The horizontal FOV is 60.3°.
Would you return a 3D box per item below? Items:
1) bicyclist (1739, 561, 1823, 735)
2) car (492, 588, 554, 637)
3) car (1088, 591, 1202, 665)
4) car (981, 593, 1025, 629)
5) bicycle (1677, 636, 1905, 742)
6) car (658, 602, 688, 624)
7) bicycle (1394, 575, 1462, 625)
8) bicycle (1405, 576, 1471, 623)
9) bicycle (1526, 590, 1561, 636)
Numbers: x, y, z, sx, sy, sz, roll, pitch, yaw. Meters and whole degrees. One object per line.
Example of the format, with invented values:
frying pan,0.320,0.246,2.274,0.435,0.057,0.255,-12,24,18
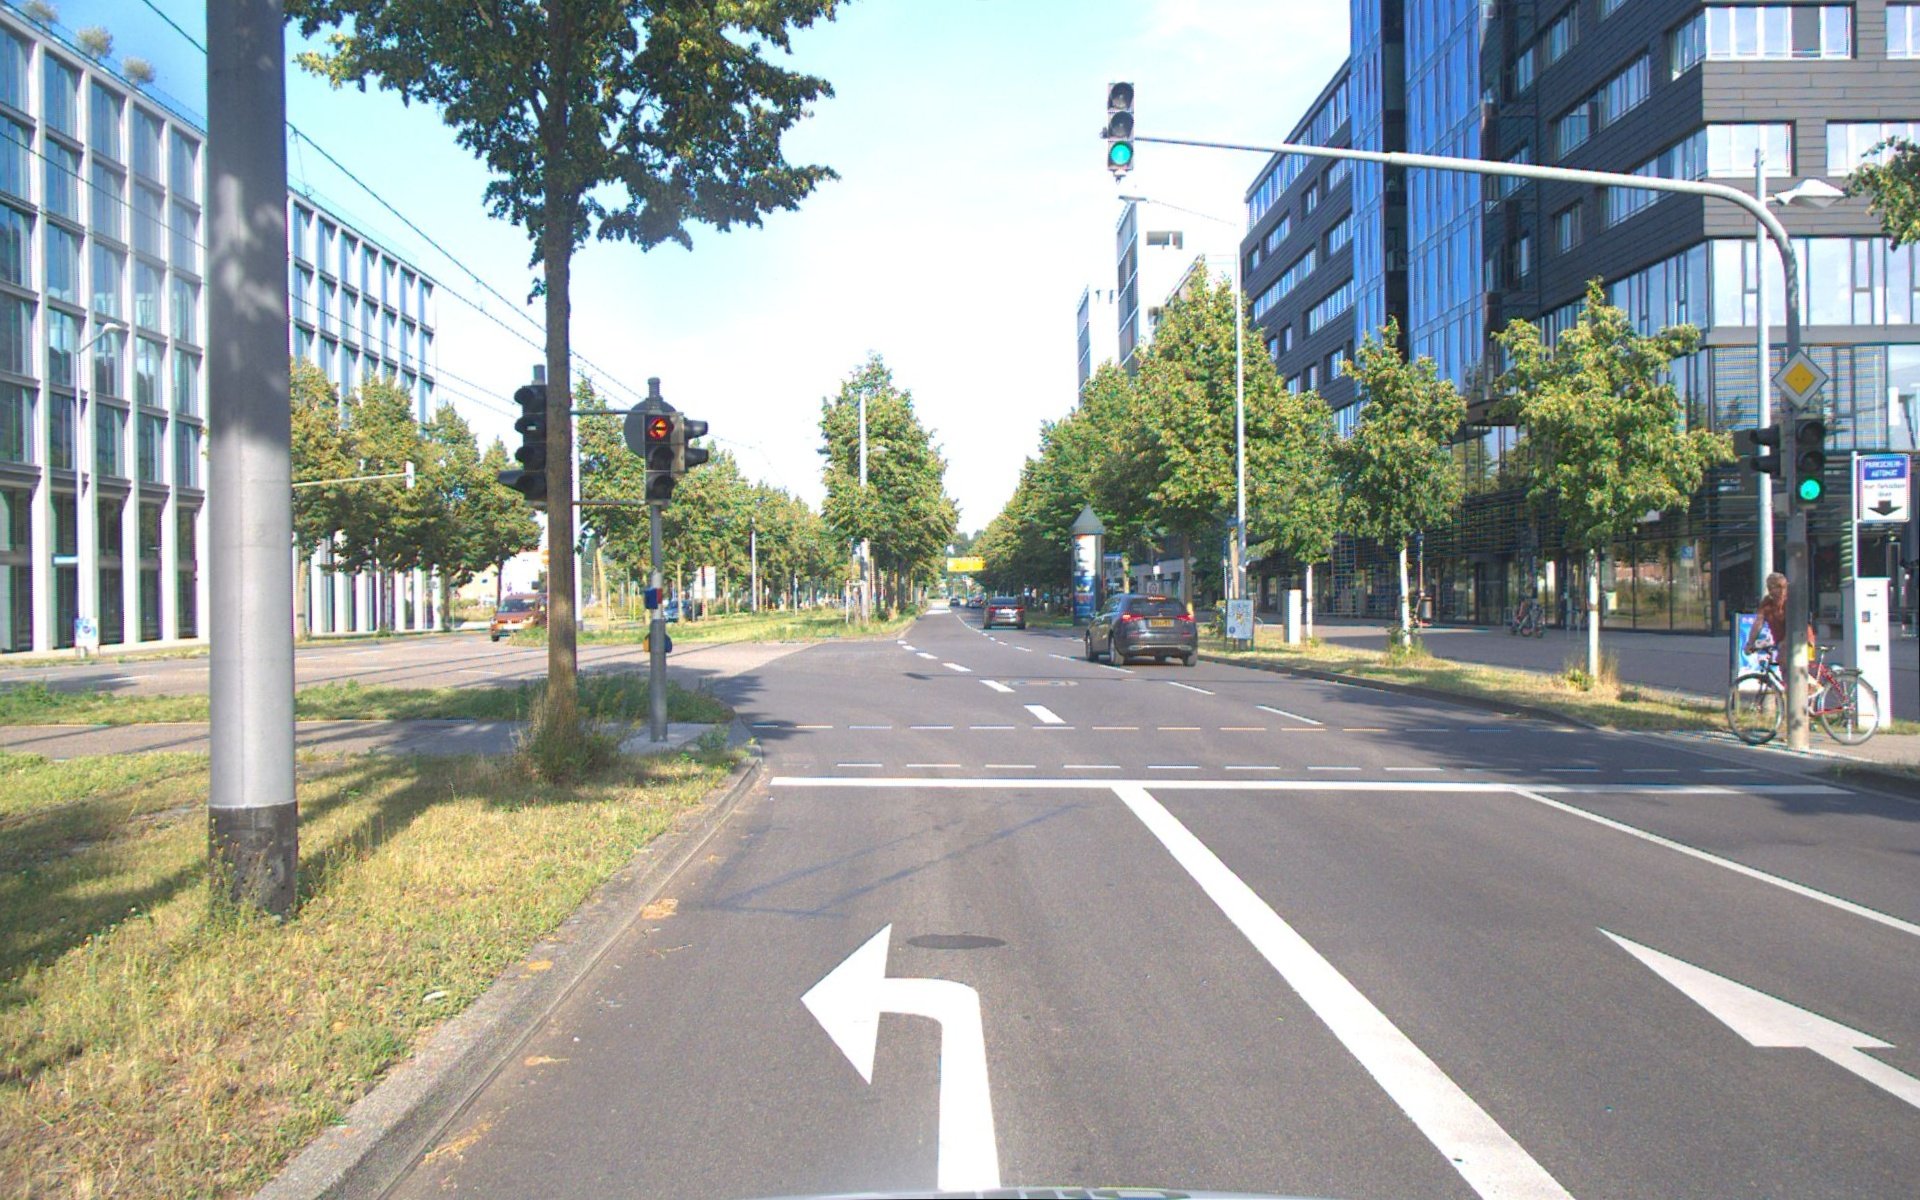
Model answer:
bicyclist,8.387,0.486,16.919,0.563,1.737,0.540,1,-1,-4
car,-16.955,0.483,64.319,1.651,1.806,3.879,1,0,-4
car,3.822,0.568,34.764,1.739,1.449,3.958,1,0,-3
car,1.934,0.505,74.866,1.822,1.551,3.785,1,0,-1
bicycle,8.492,0.903,16.928,2.092,1.030,0.571,1,-1,-5
car,-19.549,0.860,112.882,1.606,1.468,3.953,1,0,-4
bicycle,18.288,-0.010,64.667,2.510,1.890,0.570,1,-1,9
bicycle,18.337,-0.012,63.499,2.383,1.776,0.554,1,-1,9
bicycle,17.613,0.392,49.958,0.365,1.370,1.894,1,-1,0
